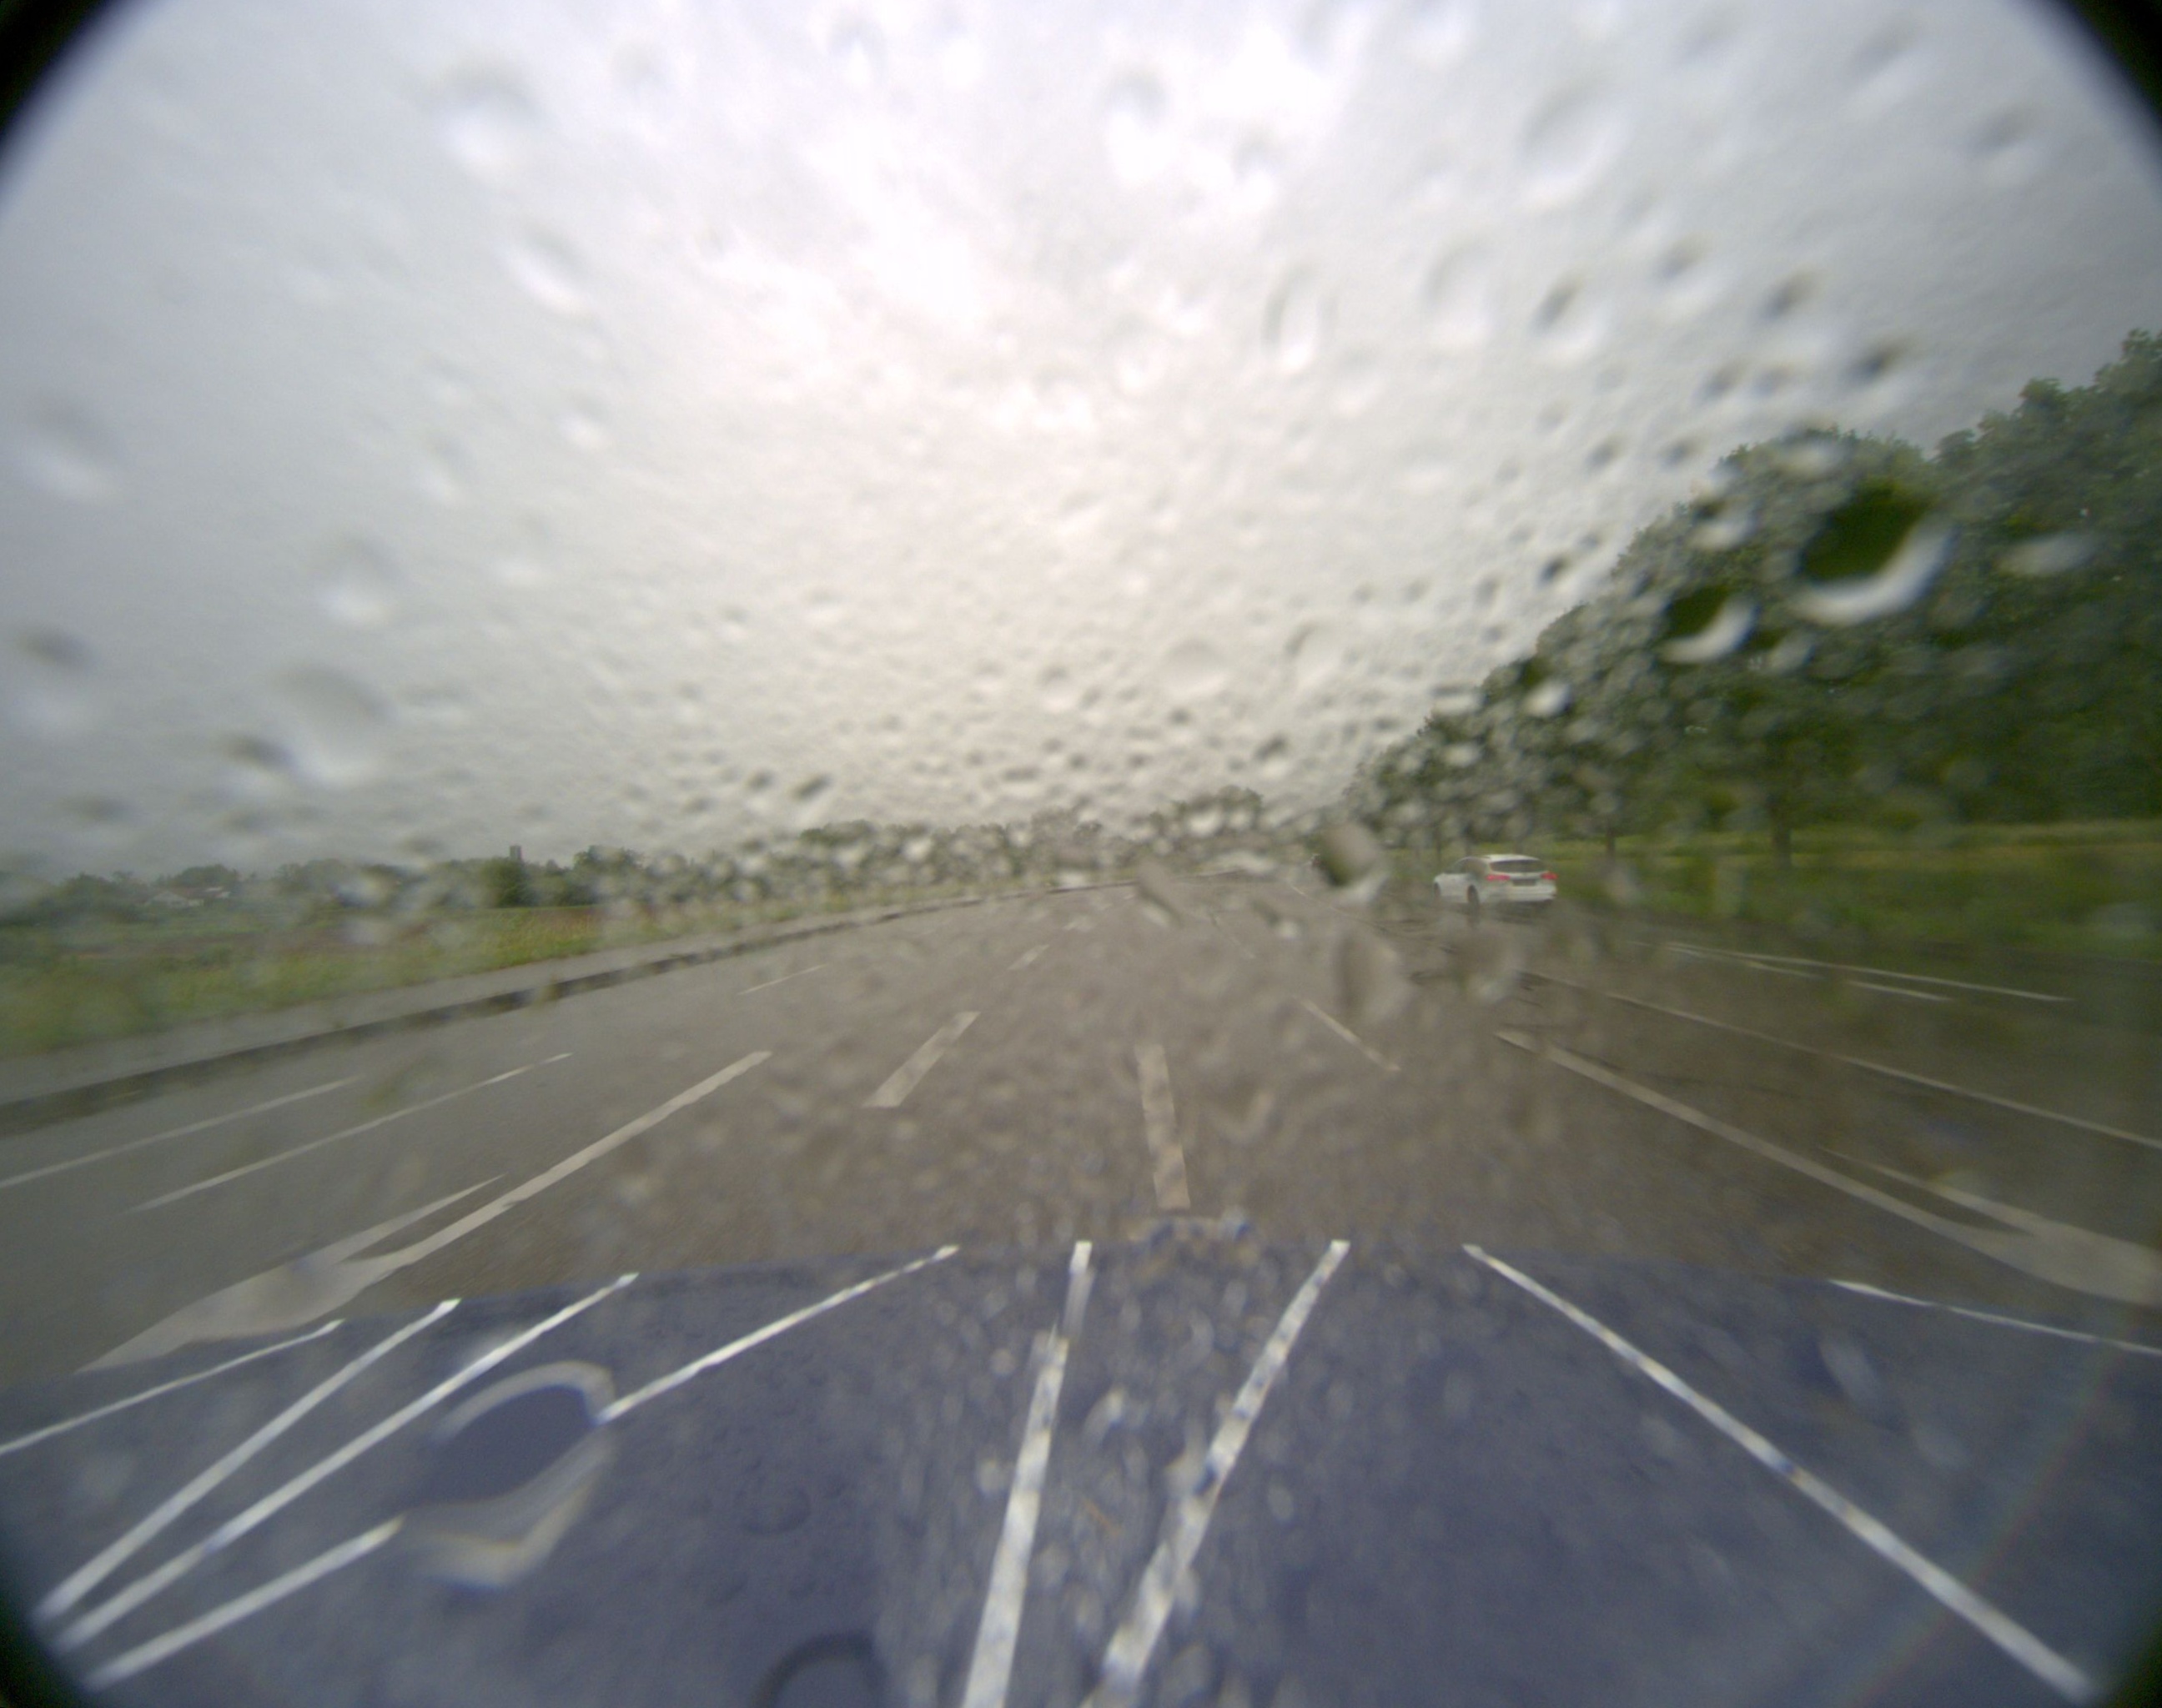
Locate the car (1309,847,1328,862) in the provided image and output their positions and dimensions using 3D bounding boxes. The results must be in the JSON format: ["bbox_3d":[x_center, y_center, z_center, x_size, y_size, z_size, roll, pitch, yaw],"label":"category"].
[{"bbox_3d":[24.049,0.036,76.816,1.741,1.479,4.016,-1,1,18],"label":"car"}]

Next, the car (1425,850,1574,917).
[{"bbox_3d":[11.039,0.697,20.477,1.883,1.564,4.646,-1,1,6],"label":"car"}]

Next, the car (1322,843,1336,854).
[{"bbox_3d":[40.362,-0.985,123.820,1.926,1.733,4.293,-1,1,16],"label":"car"}]

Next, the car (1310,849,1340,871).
[{"bbox_3d":[19.459,0.453,60.679,1.887,1.578,4.122,-4,0,13],"label":"car"}]
